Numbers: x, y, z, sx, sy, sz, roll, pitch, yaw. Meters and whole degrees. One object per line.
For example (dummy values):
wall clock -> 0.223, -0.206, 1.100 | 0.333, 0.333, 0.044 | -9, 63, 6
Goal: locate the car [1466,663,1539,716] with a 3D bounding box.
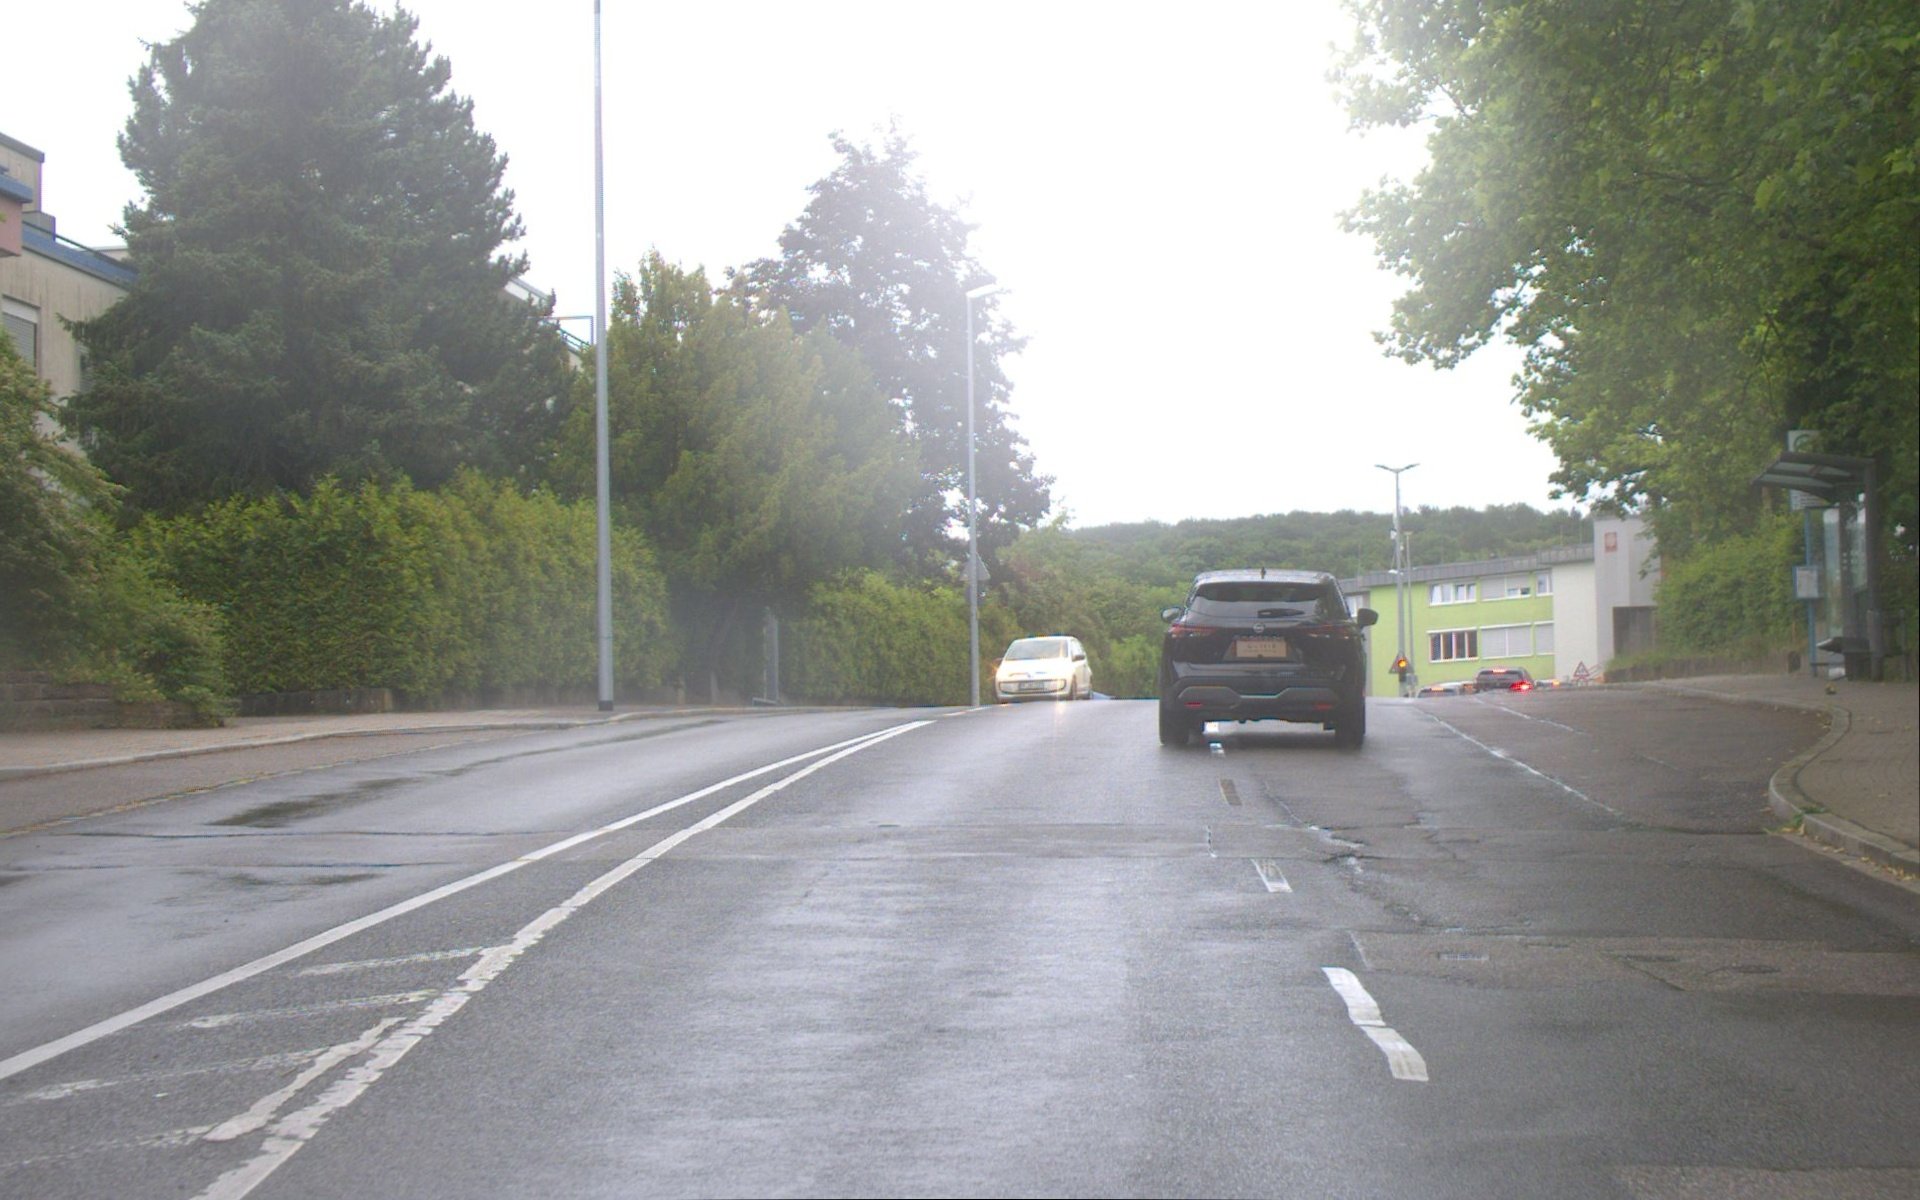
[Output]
car -> 15.322, 2.516, 97.230 | 1.994, 1.437, 3.998 | 0, -1, 8

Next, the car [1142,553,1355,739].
car -> 2.627, 0.377, 32.091 | 1.790, 1.598, 4.253 | 1, 1, 3

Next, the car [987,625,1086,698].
car -> 1.605, 1.255, 71.280 | 1.686, 1.449, 3.397 | -1, 0, 7

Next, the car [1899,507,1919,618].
car -> 20.641, -0.748, 69.052 | 2.044, 2.276, 5.018 | 0, 1, -2
